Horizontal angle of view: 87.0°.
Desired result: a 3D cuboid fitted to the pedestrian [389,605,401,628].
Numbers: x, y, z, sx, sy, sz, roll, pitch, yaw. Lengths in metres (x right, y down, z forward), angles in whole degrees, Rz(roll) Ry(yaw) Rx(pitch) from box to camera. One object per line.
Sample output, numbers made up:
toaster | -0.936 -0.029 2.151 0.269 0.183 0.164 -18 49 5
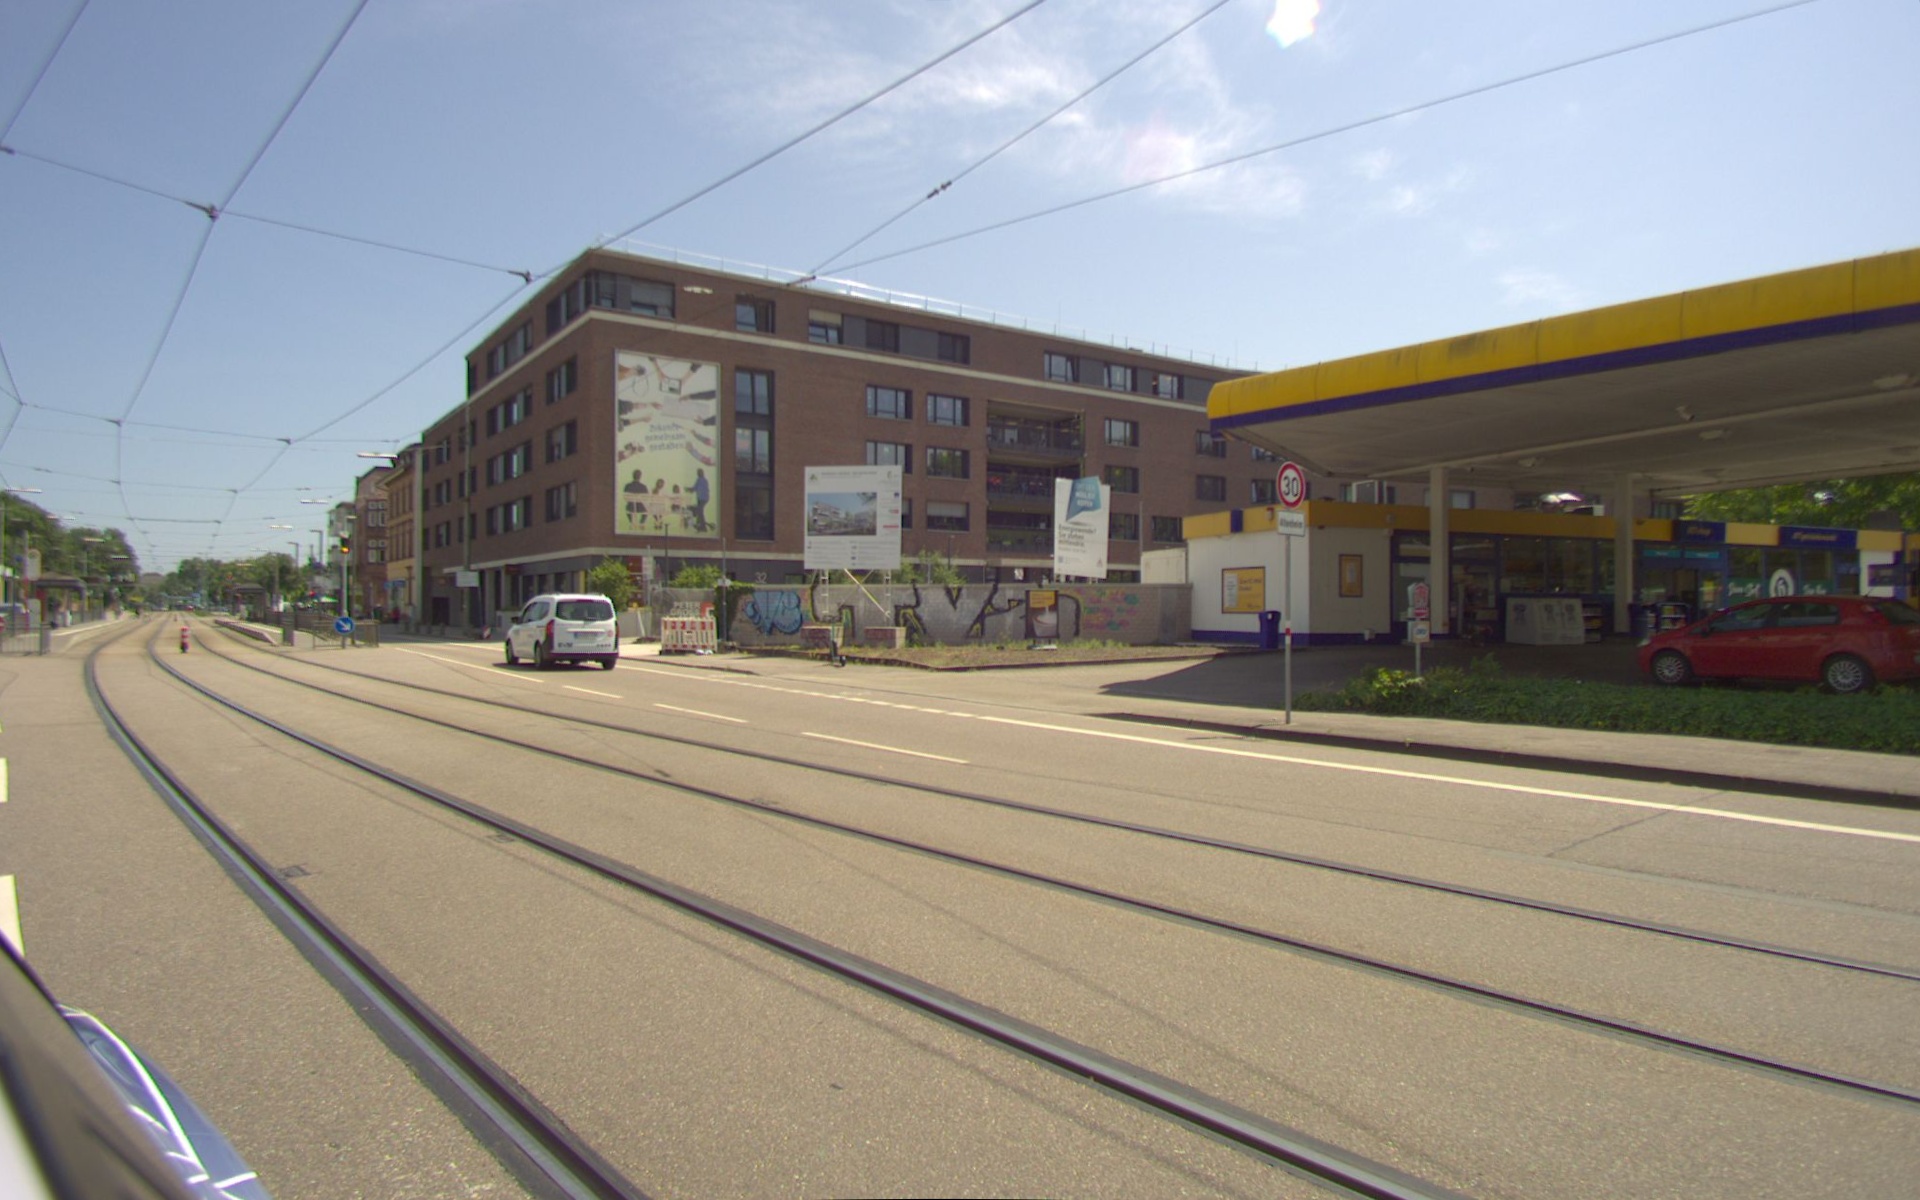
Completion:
pedestrian | -40.189 1.185 71.996 0.595 1.608 0.716 0 -1 -40

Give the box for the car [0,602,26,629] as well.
car | -58.843 0.943 62.431 1.724 1.567 4.491 -2 1 -43

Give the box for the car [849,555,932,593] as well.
car | -2.945 -1.064 42.386 1.708 1.479 4.011 -1 0 -34

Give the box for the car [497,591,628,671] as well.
car | -10.030 0.690 25.313 1.967 1.813 4.564 0 0 -36

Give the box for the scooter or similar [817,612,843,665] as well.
scooter or similar | -3.249 0.942 25.324 0.340 1.274 1.246 -1 1 -21

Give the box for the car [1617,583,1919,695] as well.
car | 13.132 0.556 16.067 1.800 1.516 4.213 -2 0 -23
